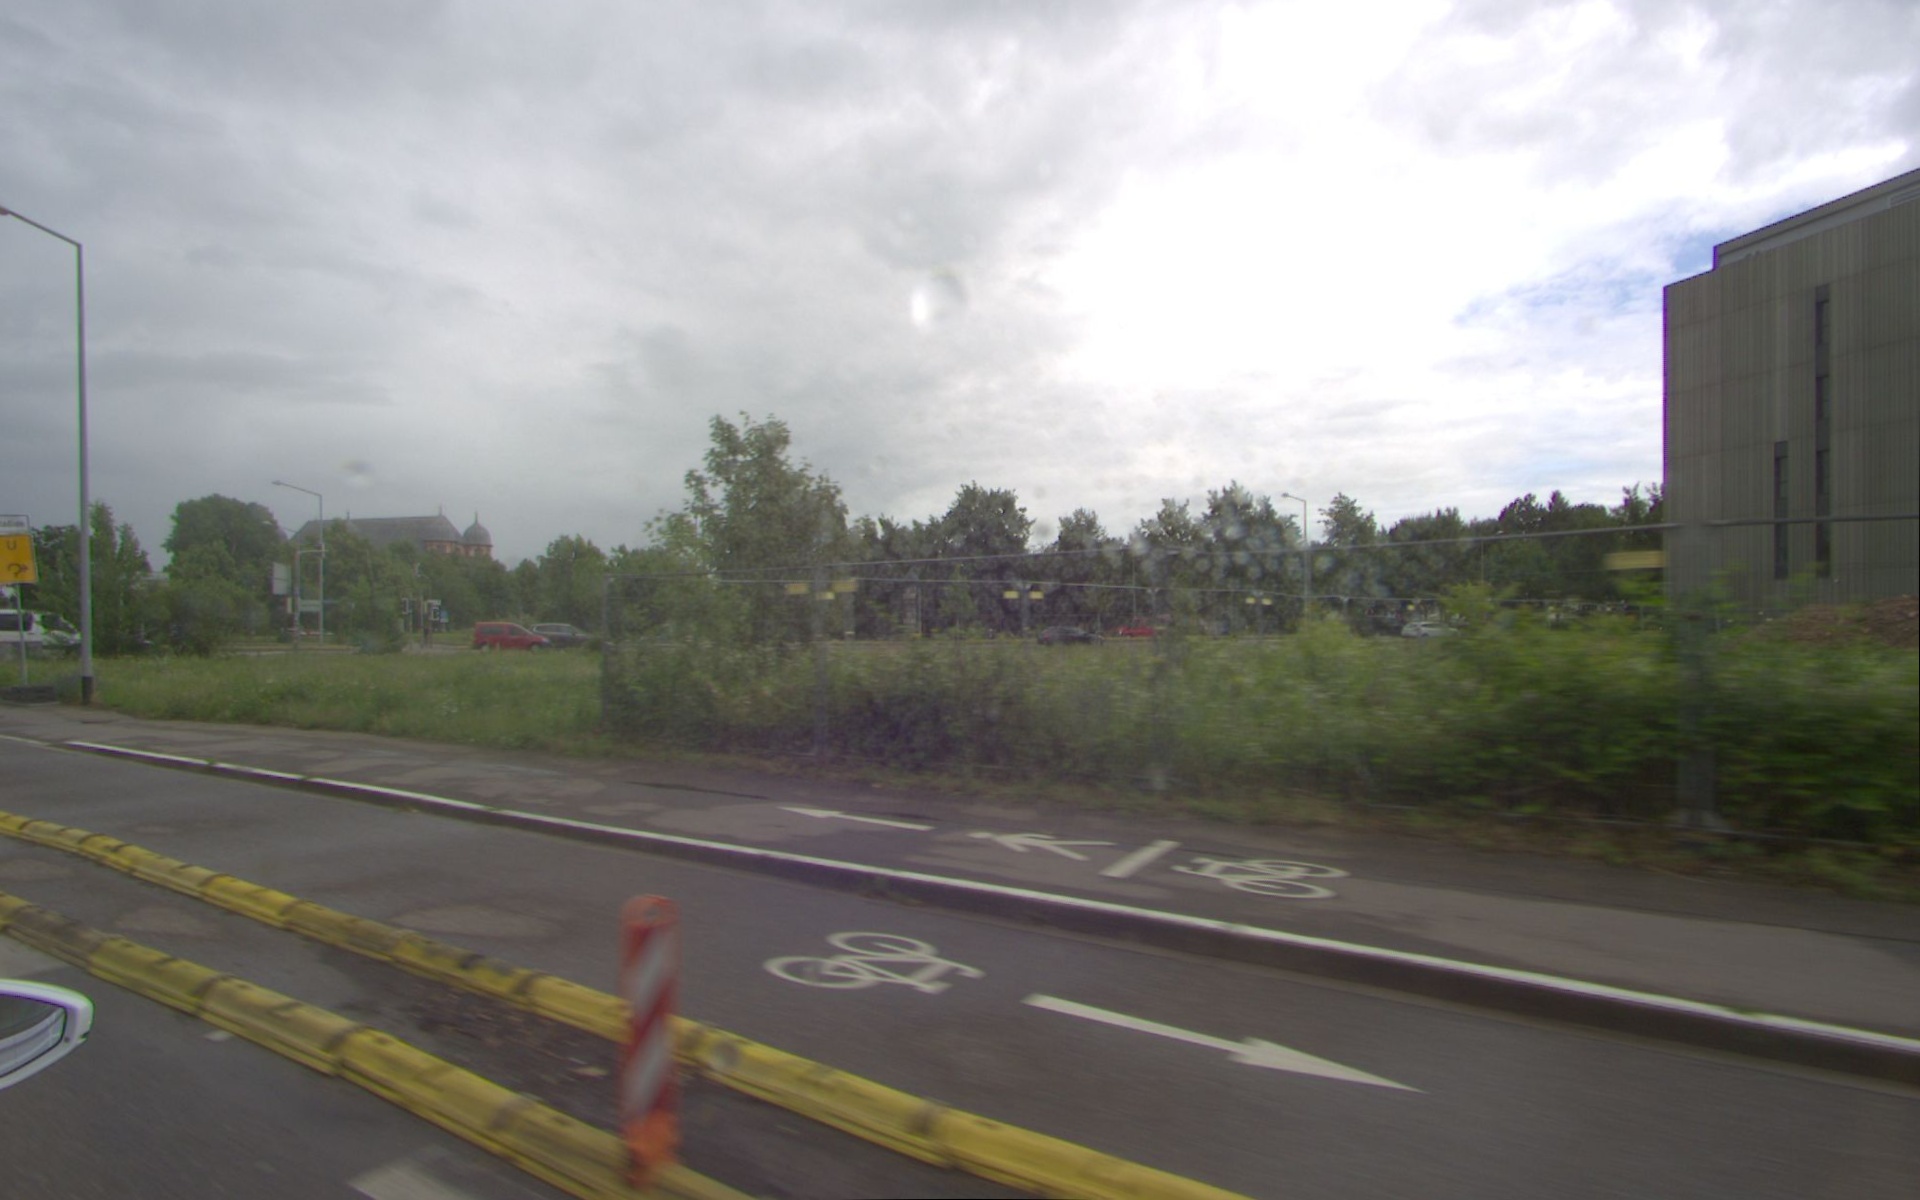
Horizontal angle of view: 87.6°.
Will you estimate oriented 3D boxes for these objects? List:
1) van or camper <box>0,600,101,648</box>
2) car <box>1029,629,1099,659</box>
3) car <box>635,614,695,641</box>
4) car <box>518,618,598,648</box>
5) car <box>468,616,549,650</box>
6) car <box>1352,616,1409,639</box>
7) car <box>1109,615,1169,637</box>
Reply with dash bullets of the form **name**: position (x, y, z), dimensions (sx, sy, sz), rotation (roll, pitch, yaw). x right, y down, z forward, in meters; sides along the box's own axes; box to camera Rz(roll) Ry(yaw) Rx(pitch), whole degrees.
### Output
- **van or camper**: position (-42.544, 1.086, 45.269), dimensions (1.979, 2.143, 5.503), rotation (-1, -1, 44)
- **car**: position (6.795, 2.867, 65.700), dimensions (4.134, 1.837, 2.074), rotation (0, -1, -18)
- **car**: position (-23.039, 2.138, 78.394), dimensions (4.395, 2.040, 1.998), rotation (0, -1, -12)
- **car**: position (-25.265, 2.052, 63.120), dimensions (4.527, 1.818, 2.112), rotation (0, -1, -17)
- **car**: position (-26.544, 1.912, 59.031), dimensions (4.134, 1.942, 2.112), rotation (0, -1, -18)
- **car**: position (33.644, 2.206, 80.108), dimensions (3.930, 1.805, 1.859), rotation (0, -1, -18)
- **car**: position (15.897, 2.274, 88.805), dimensions (4.802, 1.942, 2.113), rotation (0, -1, -15)
